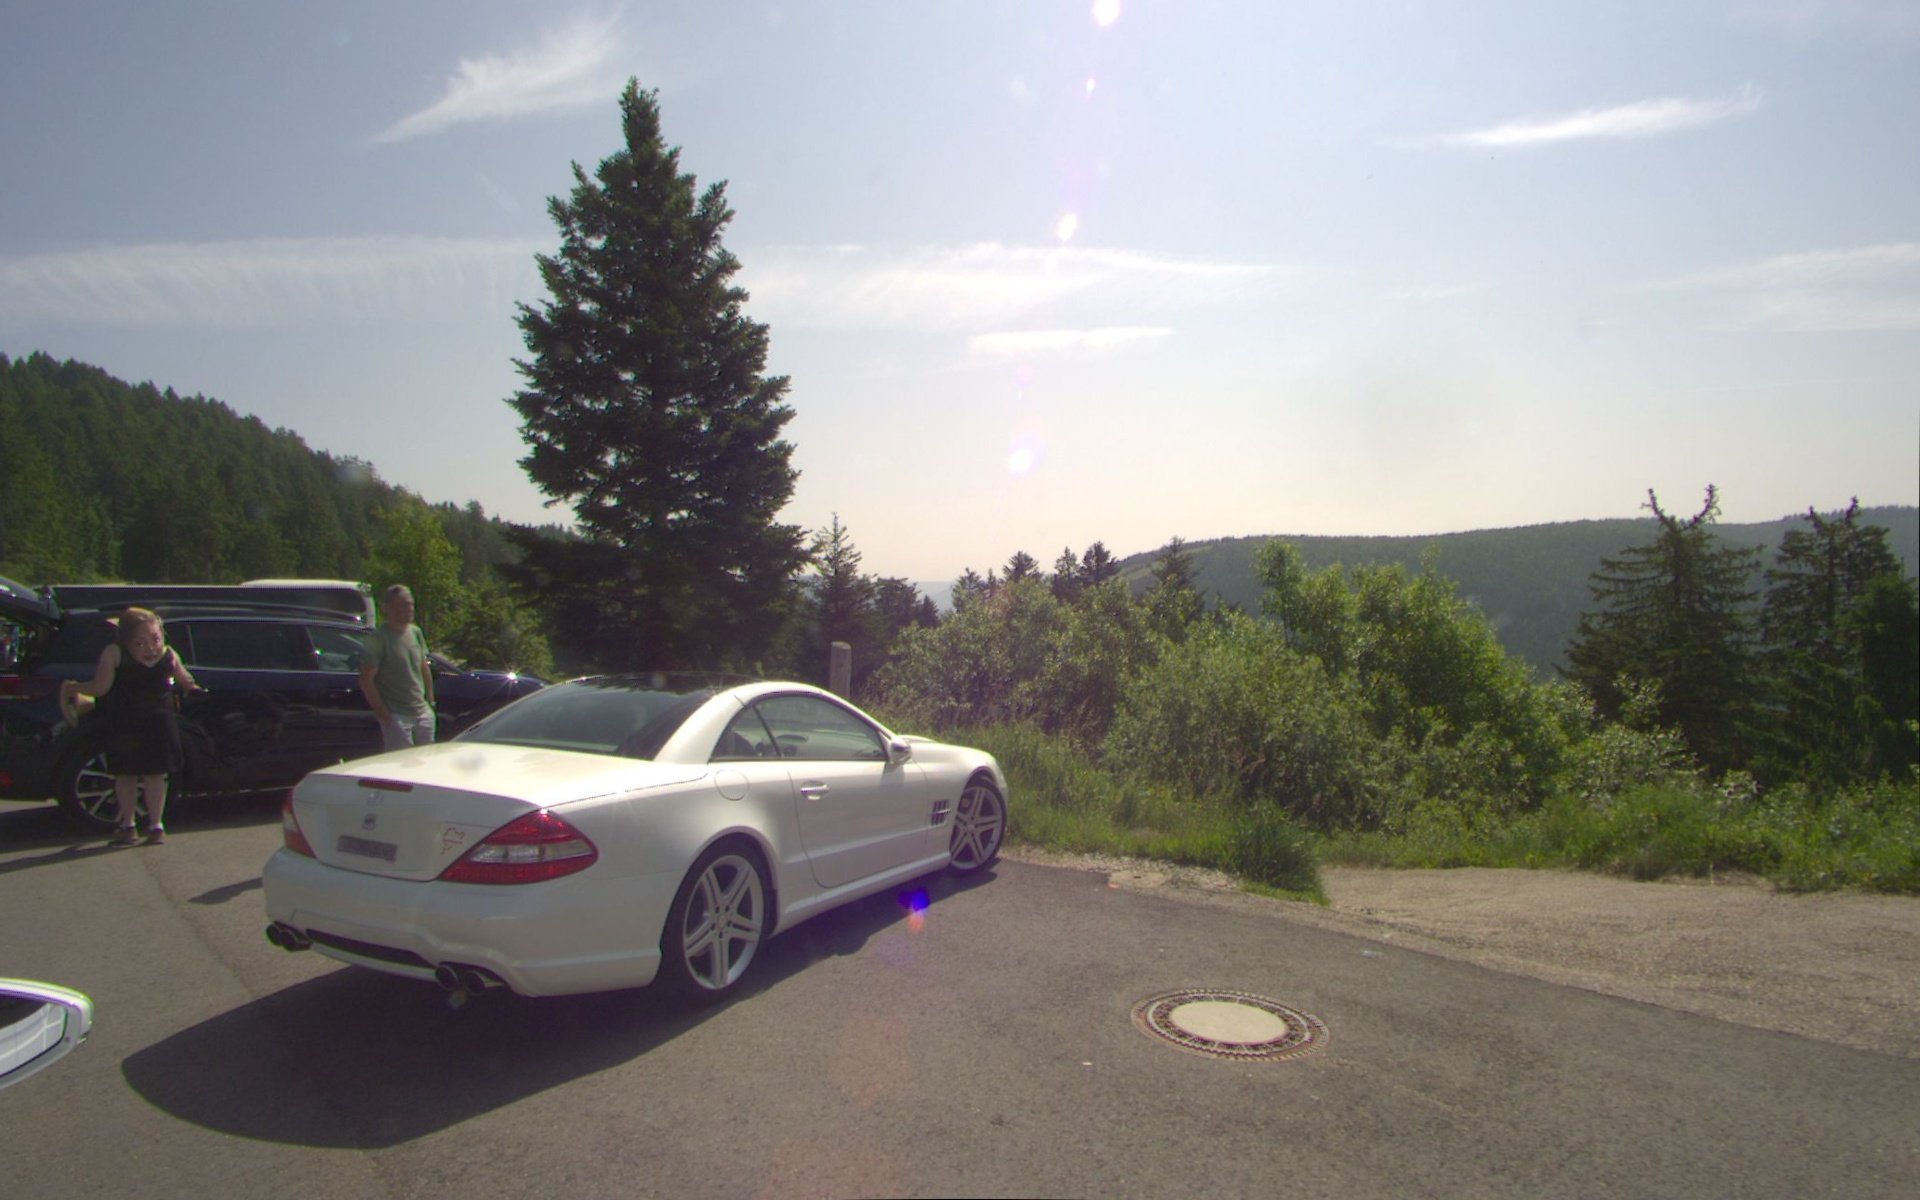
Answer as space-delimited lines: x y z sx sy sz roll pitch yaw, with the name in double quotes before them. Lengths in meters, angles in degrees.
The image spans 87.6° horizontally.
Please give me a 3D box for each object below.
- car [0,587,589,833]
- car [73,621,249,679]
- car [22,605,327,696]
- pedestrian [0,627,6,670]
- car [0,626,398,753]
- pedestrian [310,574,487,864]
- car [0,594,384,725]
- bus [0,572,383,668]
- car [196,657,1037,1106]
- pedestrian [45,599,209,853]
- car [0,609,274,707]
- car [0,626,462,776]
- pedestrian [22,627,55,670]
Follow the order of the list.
"car" -5.765 0.870 8.796 1.850 1.646 4.322 -2 -4 43
"car" -23.570 1.431 29.648 3.956 1.468 1.845 -1 0 -41
"car" -16.894 0.998 21.787 4.995 1.673 2.030 -1 0 -41
"pedestrian" -36.002 1.816 37.132 0.762 1.606 0.767 -2 1 -34
"car" -9.880 1.077 13.138 1.684 1.394 4.061 -1 -3 42
"pedestrian" -3.781 0.769 6.782 0.723 1.823 0.747 -1 -2 20
"car" -11.710 0.796 15.198 4.908 1.718 1.929 -1 0 -39
"bus" -31.905 0.688 42.270 12.949 3.579 3.027 -1 0 -31
"car" -1.202 1.002 5.465 1.727 1.312 4.400 1 -2 26
"pedestrian" -5.719 0.828 6.895 0.528 1.633 0.713 -1 -2 29
"car" -15.580 1.021 18.857 4.211 1.574 1.822 -1 0 -41
"car" -8.167 1.033 11.491 1.682 1.394 4.065 -1 -3 39
"pedestrian" -34.831 1.819 37.858 0.762 1.606 0.767 -2 1 -34
